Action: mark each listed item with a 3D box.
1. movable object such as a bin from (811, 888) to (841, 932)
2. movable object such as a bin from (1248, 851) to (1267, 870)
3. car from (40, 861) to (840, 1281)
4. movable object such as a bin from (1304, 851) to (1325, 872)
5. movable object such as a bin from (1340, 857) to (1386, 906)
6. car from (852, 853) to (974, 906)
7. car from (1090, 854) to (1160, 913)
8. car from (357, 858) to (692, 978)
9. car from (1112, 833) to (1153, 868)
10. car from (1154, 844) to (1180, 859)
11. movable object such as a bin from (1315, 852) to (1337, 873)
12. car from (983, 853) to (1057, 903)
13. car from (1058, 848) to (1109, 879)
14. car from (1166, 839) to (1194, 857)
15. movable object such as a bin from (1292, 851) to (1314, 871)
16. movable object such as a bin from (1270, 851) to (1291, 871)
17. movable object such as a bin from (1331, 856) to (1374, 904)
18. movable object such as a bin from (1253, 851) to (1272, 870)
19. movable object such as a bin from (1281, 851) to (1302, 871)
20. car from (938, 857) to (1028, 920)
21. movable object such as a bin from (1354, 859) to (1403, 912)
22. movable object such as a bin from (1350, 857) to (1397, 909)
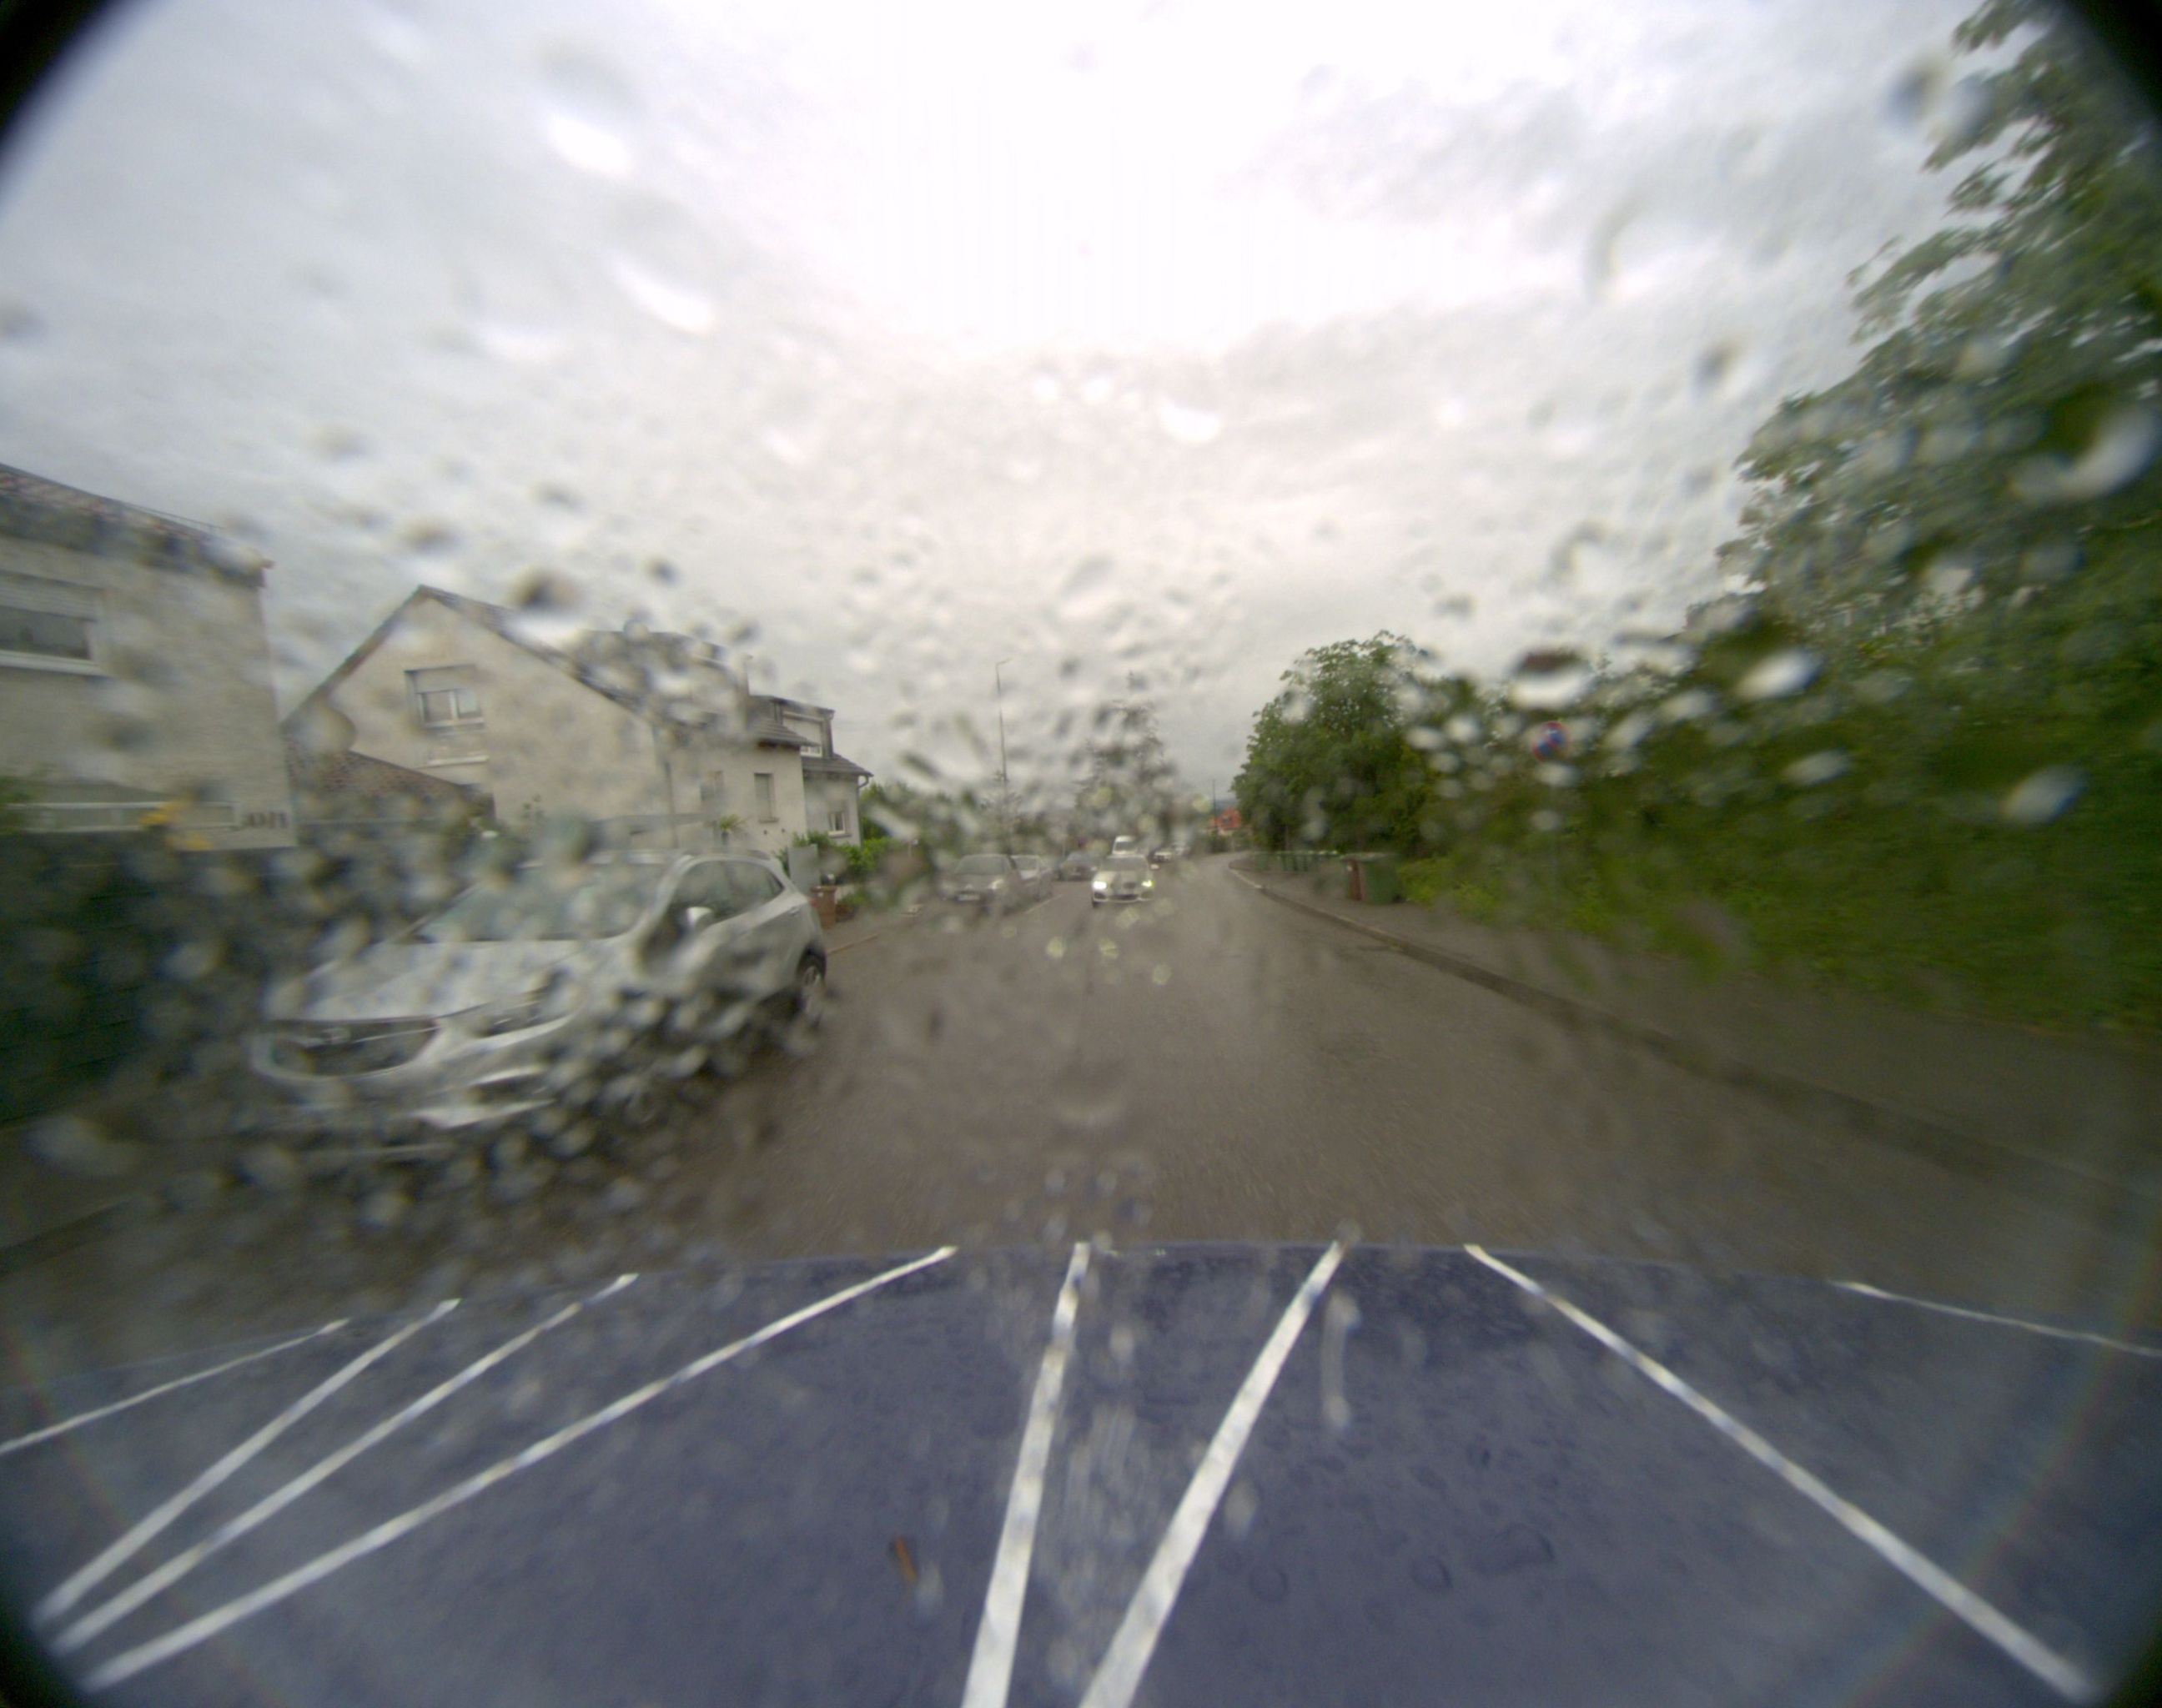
[{"bbox_3d":[-5.677,1.246,16.942,0.433,0.934,0.500,-2,1,6],"label":"movable object such as a bin"},{"bbox_3d":[10.239,0.367,44.174,0.780,1.022,0.718,-5,2,-15],"label":"movable object such as a bin"},{"bbox_3d":[-3.279,0.909,5.228,1.809,1.617,4.287,0,1,1],"label":"car"},{"bbox_3d":[12.427,0.384,40.408,0.781,1.022,0.718,-6,2,-37],"label":"movable object such as a bin"},{"bbox_3d":[6.502,0.628,17.544,0.770,1.090,0.738,-2,1,0],"label":"movable object such as a bin"},{"bbox_3d":[-6.493,0.968,29.602,3.994,1.433,2.001,-8,0,12],"label":"car"},{"bbox_3d":[1.274,0.787,22.066,1.798,1.455,4.000,-1,1,3],"label":"car"},{"bbox_3d":[-8.770,0.974,12.192,3.995,1.581,1.935,-3,2,7],"label":"car"},{"bbox_3d":[4.107,-0.318,59.019,2.075,2.535,6.186,-1,1,14],"label":"car"},{"bbox_3d":[8.505,-0.258,74.699,1.751,1.415,4.004,-1,1,18],"label":"car"},{"bbox_3d":[12.863,0.425,39.821,0.781,1.022,0.718,-6,2,-37],"label":"movable object such as a bin"},{"bbox_3d":[-1.926,0.739,25.230,1.772,1.459,4.235,0,1,5],"label":"car"},{"bbox_3d":[0.207,0.475,40.301,1.861,1.518,5.067,0,1,9],"label":"car"},{"bbox_3d":[10.442,-0.685,79.831,1.867,1.808,4.868,-1,1,19],"label":"car"},{"bbox_3d":[11.977,0.372,41.004,0.781,1.022,0.718,-6,2,-37],"label":"movable object such as a bin"},{"bbox_3d":[11.084,0.384,42.181,0.781,1.022,0.718,-6,2,-37],"label":"movable object such as a bin"},{"bbox_3d":[6.544,0.616,18.341,0.770,1.090,0.738,-2,1,0],"label":"movable object such as a bin"},{"bbox_3d":[10.375,0.358,43.445,0.780,1.022,0.718,-5,2,-15],"label":"movable object such as a bin"},{"bbox_3d":[11.537,0.390,41.590,0.781,1.022,0.718,-6,2,-37],"label":"movable object such as a bin"},{"bbox_3d":[-2.491,0.844,20.162,1.663,1.459,3.764,0,1,4],"label":"car"},{"bbox_3d":[6.296,0.651,16.109,0.770,1.062,0.691,-2,1,0],"label":"movable object such as a bin"},{"bbox_3d":[6.457,0.637,16.809,0.770,1.090,0.671,-2,1,0],"label":"movable object such as a bin"}]
